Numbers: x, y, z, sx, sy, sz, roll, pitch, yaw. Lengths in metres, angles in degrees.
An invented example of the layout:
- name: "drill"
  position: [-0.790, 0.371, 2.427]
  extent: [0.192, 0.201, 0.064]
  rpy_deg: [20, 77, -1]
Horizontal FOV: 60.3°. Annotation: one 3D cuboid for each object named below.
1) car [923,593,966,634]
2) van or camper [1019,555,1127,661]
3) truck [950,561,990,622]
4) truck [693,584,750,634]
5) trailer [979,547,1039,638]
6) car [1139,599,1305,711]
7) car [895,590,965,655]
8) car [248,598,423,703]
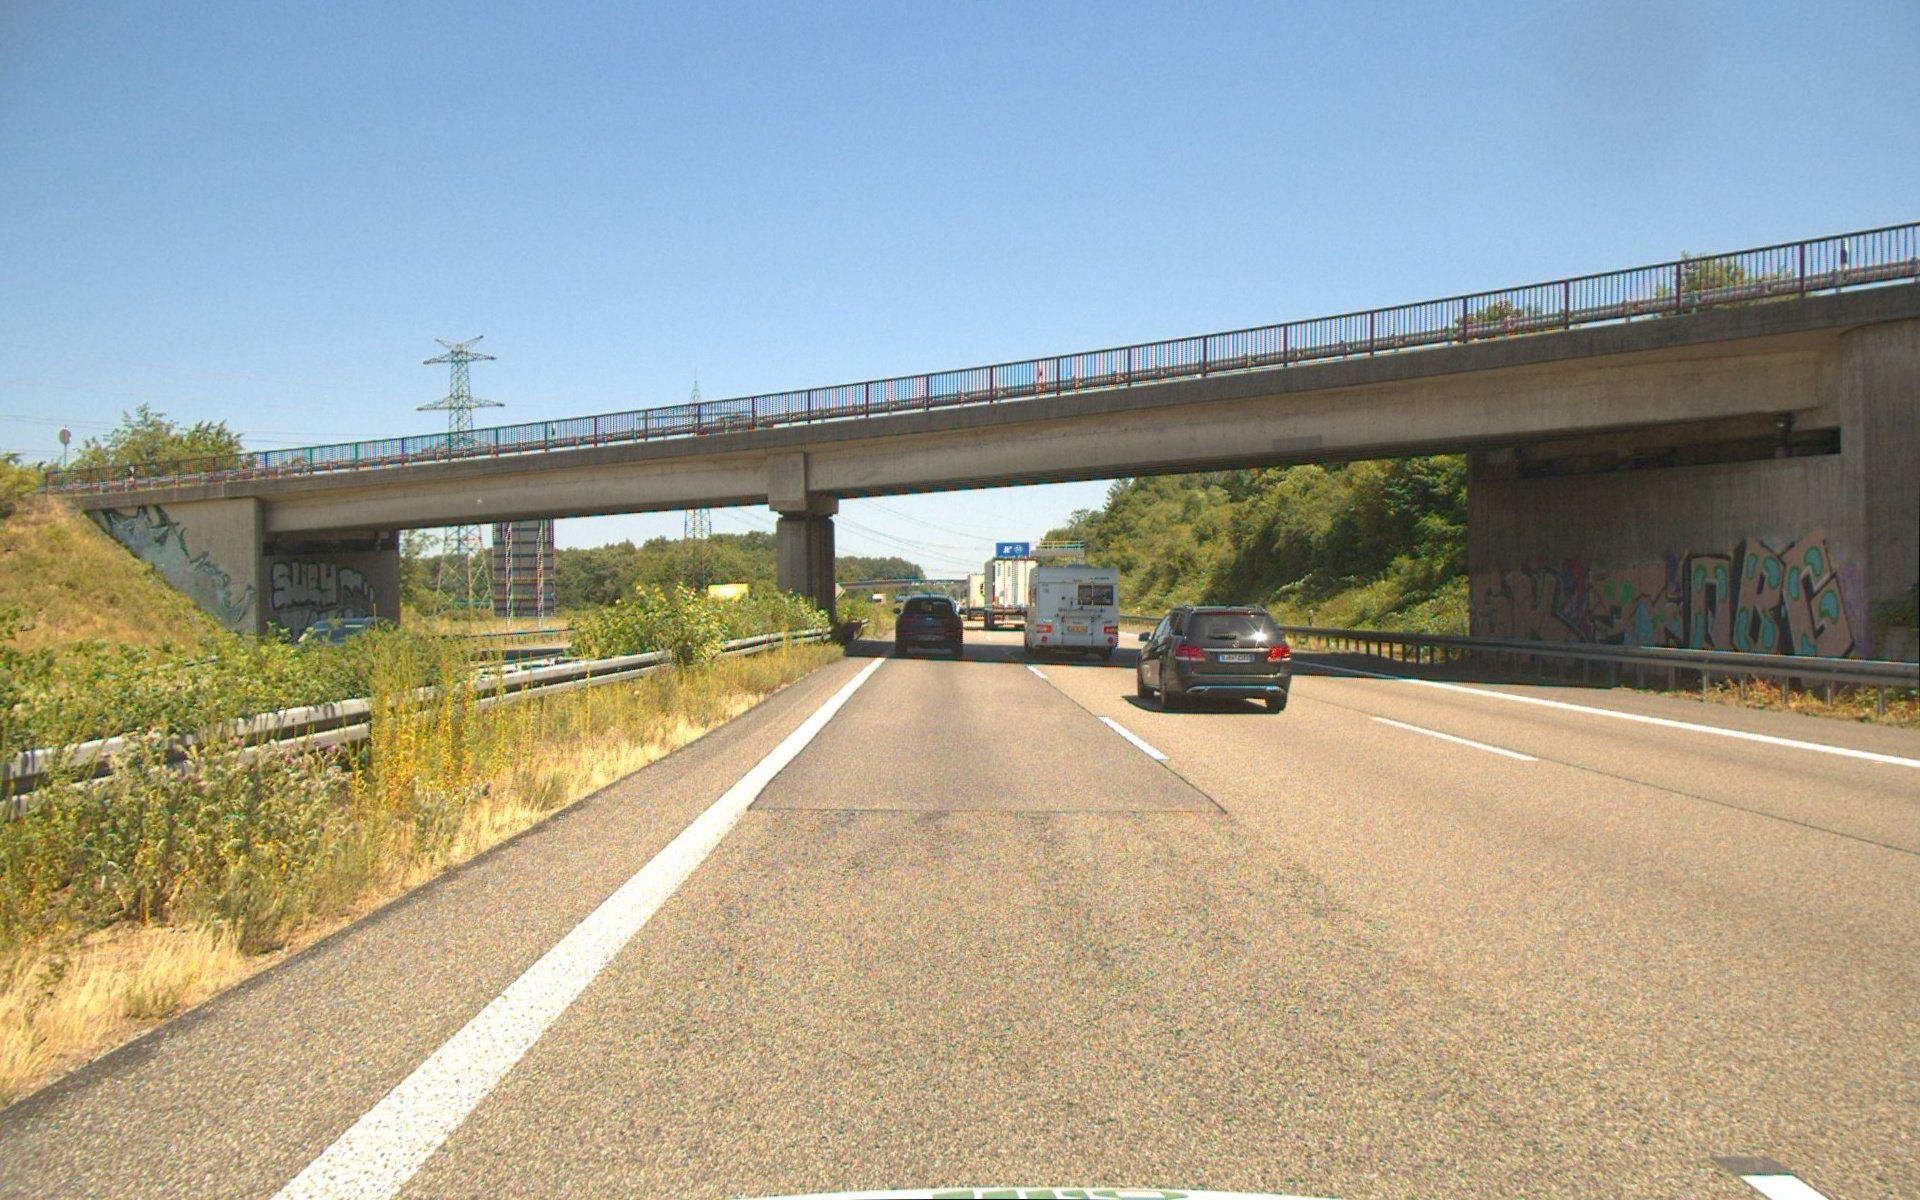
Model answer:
- name: "car"
  position: [-0.767, 0.623, 78.880]
  extent: [1.922, 1.846, 4.447]
  rpy_deg: [-1, 0, -1]
- name: "van or camper"
  position: [3.052, 0.200, 46.087]
  extent: [2.390, 2.721, 6.348]
  rpy_deg: [-1, 0, -1]
- name: "truck"
  position: [0.881, -0.758, 148.319]
  extent: [3.440, 5.257, 10.257]
  rpy_deg: [0, 0, 0]
- name: "truck"
  position: [-19.274, 0.740, 134.207]
  extent: [3.440, 3.930, 8.660]
  rpy_deg: [0, 0, 0]
- name: "trailer"
  position: [2.800, -0.352, 97.656]
  extent: [3.024, 4.970, 12.256]
  rpy_deg: [1, -1, 0]
- name: "car"
  position: [3.866, 0.757, 25.172]
  extent: [1.803, 1.532, 4.738]
  rpy_deg: [-1, 0, 1]
- name: "car"
  position: [-0.889, 0.618, 48.550]
  extent: [1.953, 1.803, 3.999]
  rpy_deg: [-1, 0, -1]
- name: "car"
  position: [-13.525, 1.048, 36.143]
  extent: [1.953, 2.049, 4.840]
  rpy_deg: [-3, 0, -1]
